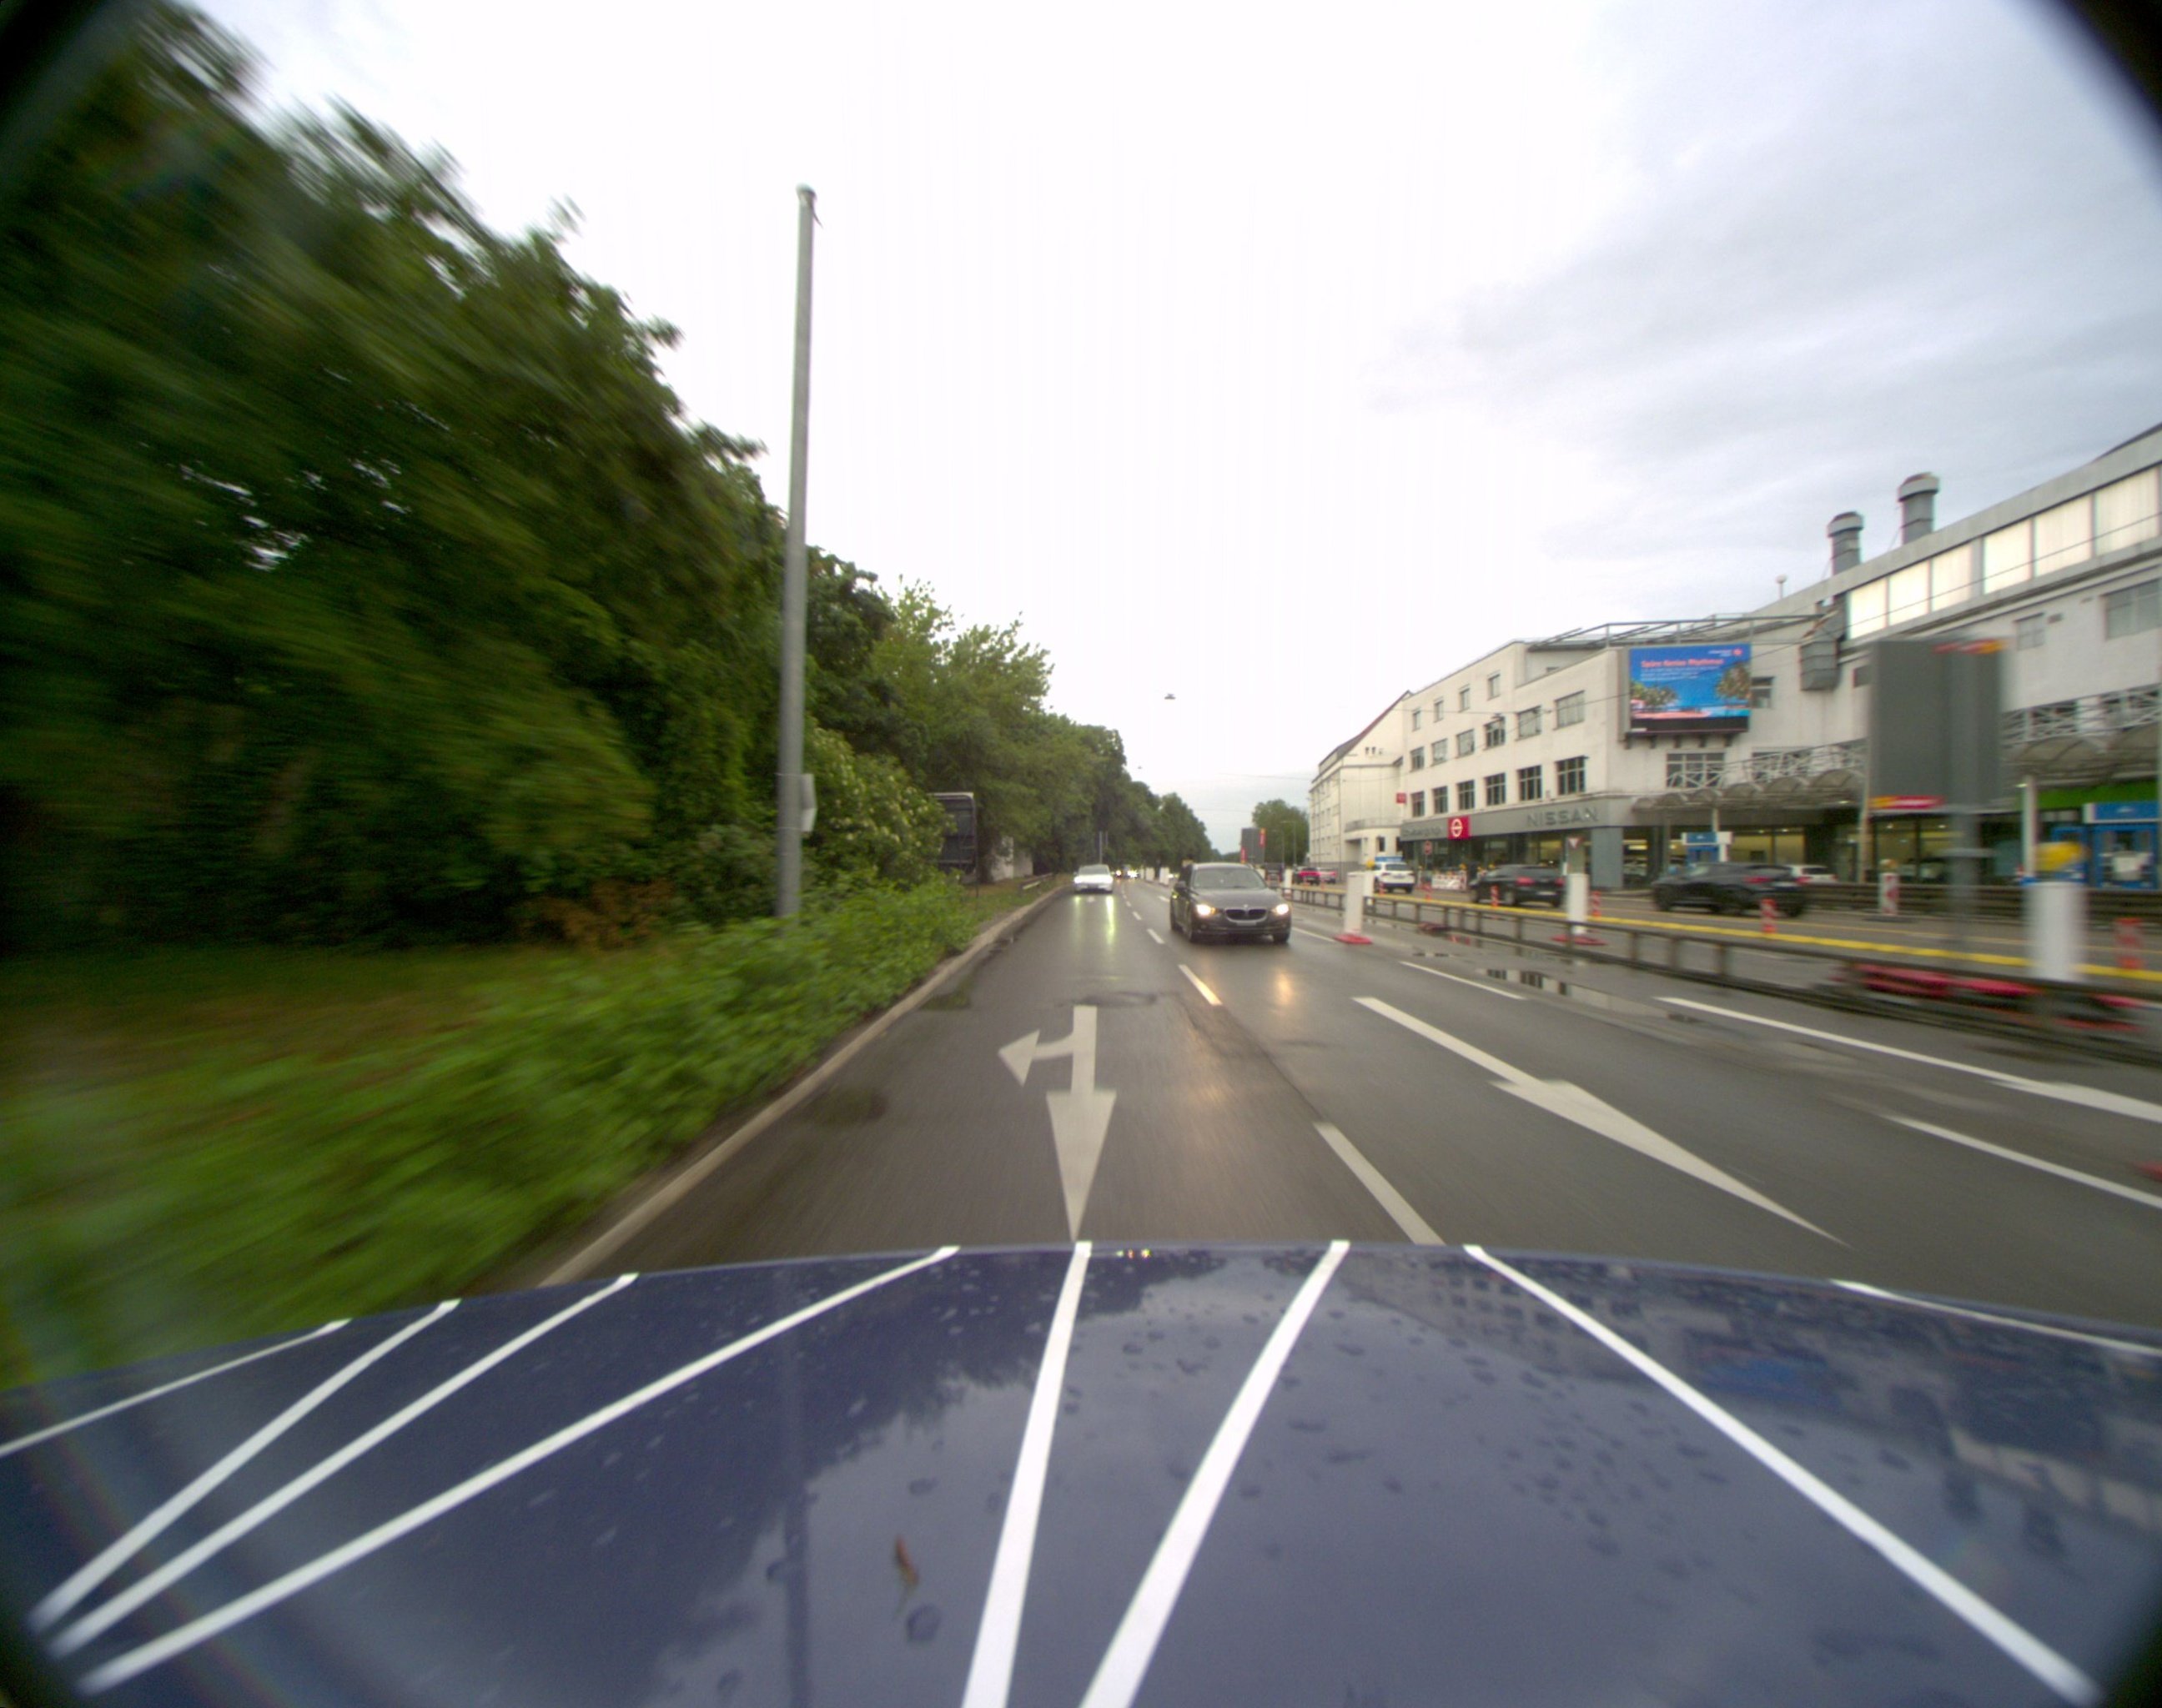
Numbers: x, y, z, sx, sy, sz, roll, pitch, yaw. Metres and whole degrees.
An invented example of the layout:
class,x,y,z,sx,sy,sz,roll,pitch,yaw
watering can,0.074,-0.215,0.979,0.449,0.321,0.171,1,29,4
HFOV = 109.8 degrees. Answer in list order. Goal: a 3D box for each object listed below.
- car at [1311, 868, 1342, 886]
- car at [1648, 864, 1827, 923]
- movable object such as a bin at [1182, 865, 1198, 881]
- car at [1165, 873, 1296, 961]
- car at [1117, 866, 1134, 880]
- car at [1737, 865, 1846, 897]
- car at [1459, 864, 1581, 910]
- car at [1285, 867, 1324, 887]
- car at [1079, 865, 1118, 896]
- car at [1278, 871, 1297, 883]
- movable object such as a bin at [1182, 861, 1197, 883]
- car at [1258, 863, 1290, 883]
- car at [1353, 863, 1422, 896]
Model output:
class,x,y,z,sx,sy,sz,roll,pitch,yaw
car,23.544,2.171,72.946,1.751,1.575,4.266,1,-1,3
car,18.843,1.072,22.100,1.714,1.527,4.078,1,-1,1
movable object such as a bin,14.158,2.471,98.612,1.997,2.099,3.853,1,-1,9
car,2.748,1.113,14.912,1.764,1.441,4.178,0,-1,0
car,5.538,2.329,94.866,1.998,1.739,4.001,1,0,3
car,34.804,1.292,37.373,1.817,1.474,3.969,1,-1,3
car,15.599,1.137,27.305,1.964,1.512,4.301,0,-1,1
car,17.938,1.807,61.203,1.855,1.457,4.708,1,-1,2
car,0.854,1.292,38.294,1.839,1.424,4.273,1,-1,1
car,28.479,3.164,105.059,1.787,1.499,4.524,1,-1,6
movable object such as a bin,14.882,2.447,104.091,1.825,2.894,3.611,1,-1,9
car,19.413,1.900,76.508,1.998,1.925,5.232,1,0,2
car,16.465,1.321,41.081,1.943,1.679,4.581,1,-1,1
